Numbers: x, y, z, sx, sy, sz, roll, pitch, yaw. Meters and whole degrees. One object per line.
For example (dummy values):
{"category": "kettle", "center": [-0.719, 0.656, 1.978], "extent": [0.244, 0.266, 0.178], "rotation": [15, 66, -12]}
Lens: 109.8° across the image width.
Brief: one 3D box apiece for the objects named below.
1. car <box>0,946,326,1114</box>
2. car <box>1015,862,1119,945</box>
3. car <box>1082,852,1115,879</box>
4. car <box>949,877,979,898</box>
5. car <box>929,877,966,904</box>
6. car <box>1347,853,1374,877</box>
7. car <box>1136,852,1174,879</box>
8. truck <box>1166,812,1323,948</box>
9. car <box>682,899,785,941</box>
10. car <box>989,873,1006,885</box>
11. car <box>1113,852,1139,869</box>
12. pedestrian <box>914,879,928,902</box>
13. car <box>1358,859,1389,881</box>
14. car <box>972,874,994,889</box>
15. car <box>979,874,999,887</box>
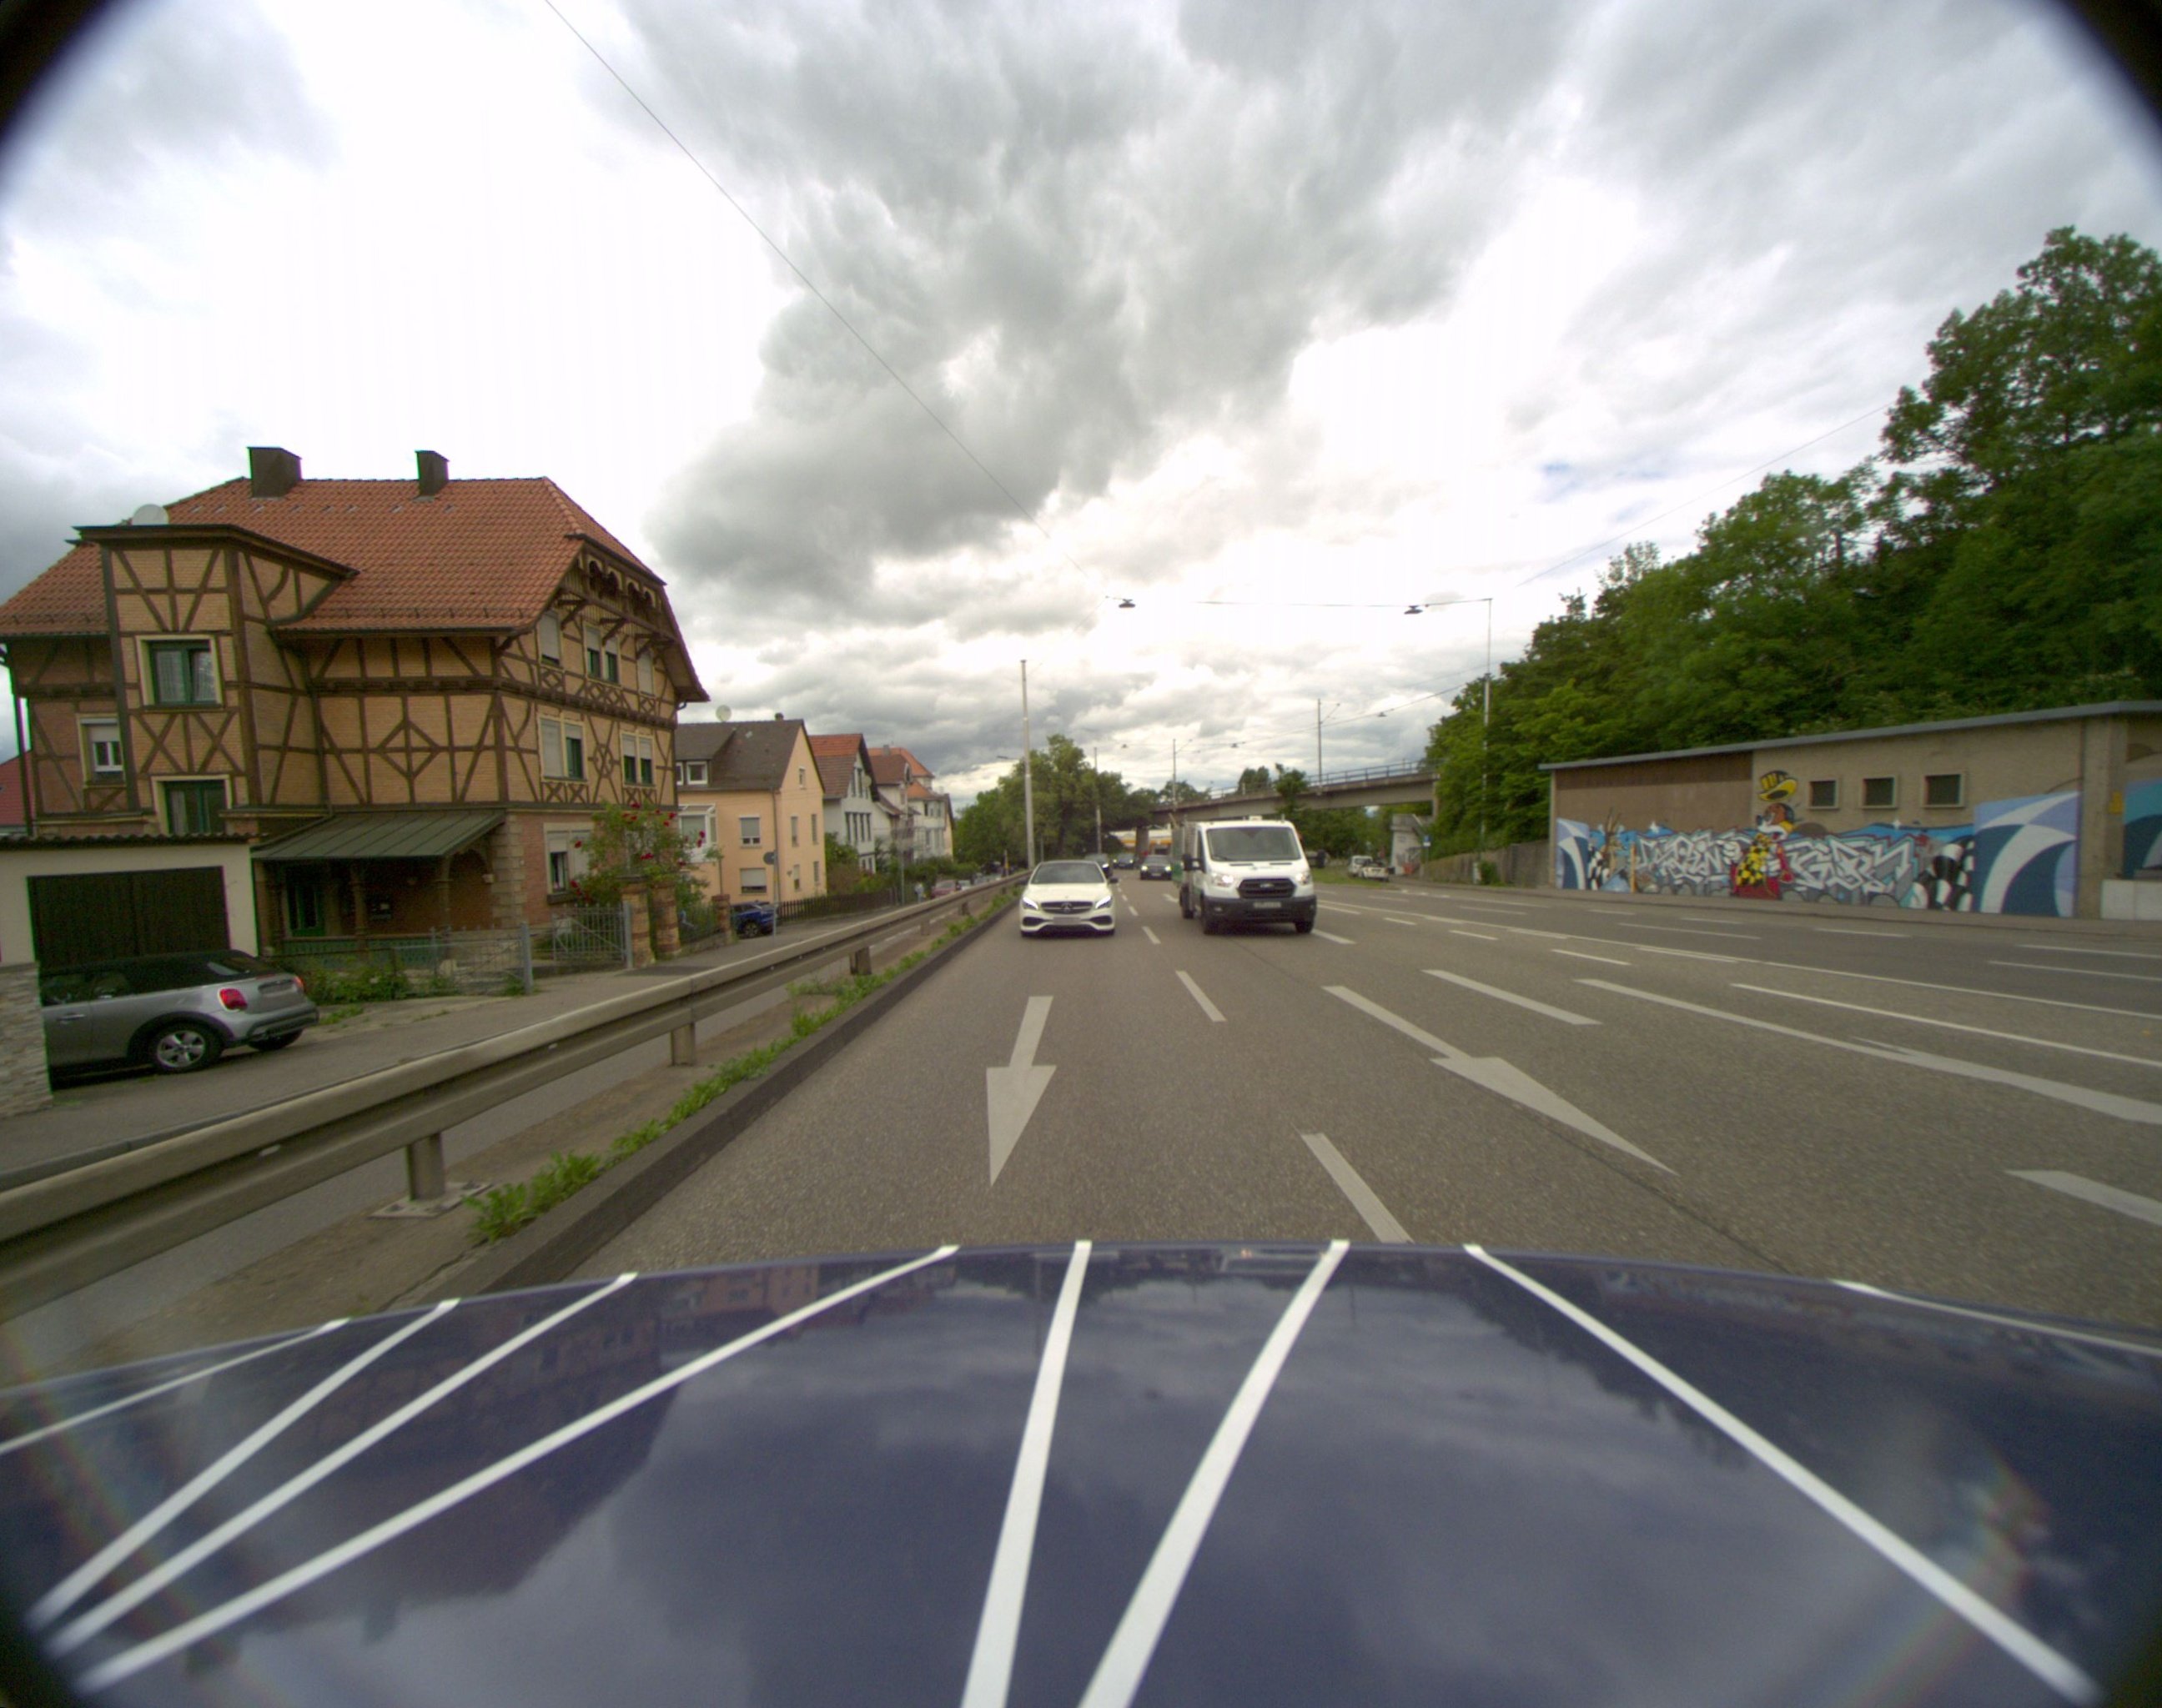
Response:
{"category": "car", "center": [-11.988, 2.148, 9.072], "extent": [3.800, 1.396, 1.544], "rotation": [-7, 1, -19]}
{"category": "car", "center": [-0.228, 0.913, 15.607], "extent": [1.817, 1.390, 4.000], "rotation": [-2, 0, 1]}
{"category": "car", "center": [1.095, 0.693, 46.752], "extent": [1.777, 1.532, 4.001], "rotation": [-3, 0, 4]}
{"category": "car", "center": [-9.528, 2.690, 62.088], "extent": [1.923, 1.490, 3.999], "rotation": [-3, 0, -2]}
{"category": "car", "center": [-9.184, 2.474, 52.546], "extent": [1.923, 1.641, 3.999], "rotation": [-3, 0, -2]}
{"category": "car", "center": [22.269, 0.860, 60.636], "extent": [1.634, 1.793, 4.005], "rotation": [-3, 0, 16]}
{"category": "car", "center": [4.370, 0.680, 45.437], "extent": [1.915, 1.472, 4.401], "rotation": [-3, 0, 1]}
{"category": "truck", "center": [3.176, 0.416, 16.246], "extent": [2.080, 2.308, 6.331], "rotation": [-1, 1, 1]}
{"category": "car", "center": [-15.418, 2.922, 33.876], "extent": [3.797, 1.554, 1.546], "rotation": [-3, 0, -6]}
{"category": "car", "center": [-11.004, 3.256, 99.974], "extent": [1.851, 1.354, 3.999], "rotation": [-3, 0, -2]}
{"category": "car", "center": [3.957, 0.565, 66.883], "extent": [1.776, 1.390, 4.003], "rotation": [-3, 0, 10]}
{"category": "pedestrian", "center": [-10.701, 2.439, 50.771], "extent": [0.713, 1.462, 0.695], "rotation": [-3, 0, -2]}
{"category": "car", "center": [20.922, 1.149, 54.431], "extent": [1.634, 1.411, 4.005], "rotation": [-3, 0, 16]}
{"category": "car", "center": [-10.099, 2.846, 78.390], "extent": [1.851, 1.354, 3.999], "rotation": [-3, 0, -2]}
{"category": "car", "center": [-10.740, 3.050, 88.807], "extent": [1.851, 1.354, 3.999], "rotation": [-3, 0, -2]}
